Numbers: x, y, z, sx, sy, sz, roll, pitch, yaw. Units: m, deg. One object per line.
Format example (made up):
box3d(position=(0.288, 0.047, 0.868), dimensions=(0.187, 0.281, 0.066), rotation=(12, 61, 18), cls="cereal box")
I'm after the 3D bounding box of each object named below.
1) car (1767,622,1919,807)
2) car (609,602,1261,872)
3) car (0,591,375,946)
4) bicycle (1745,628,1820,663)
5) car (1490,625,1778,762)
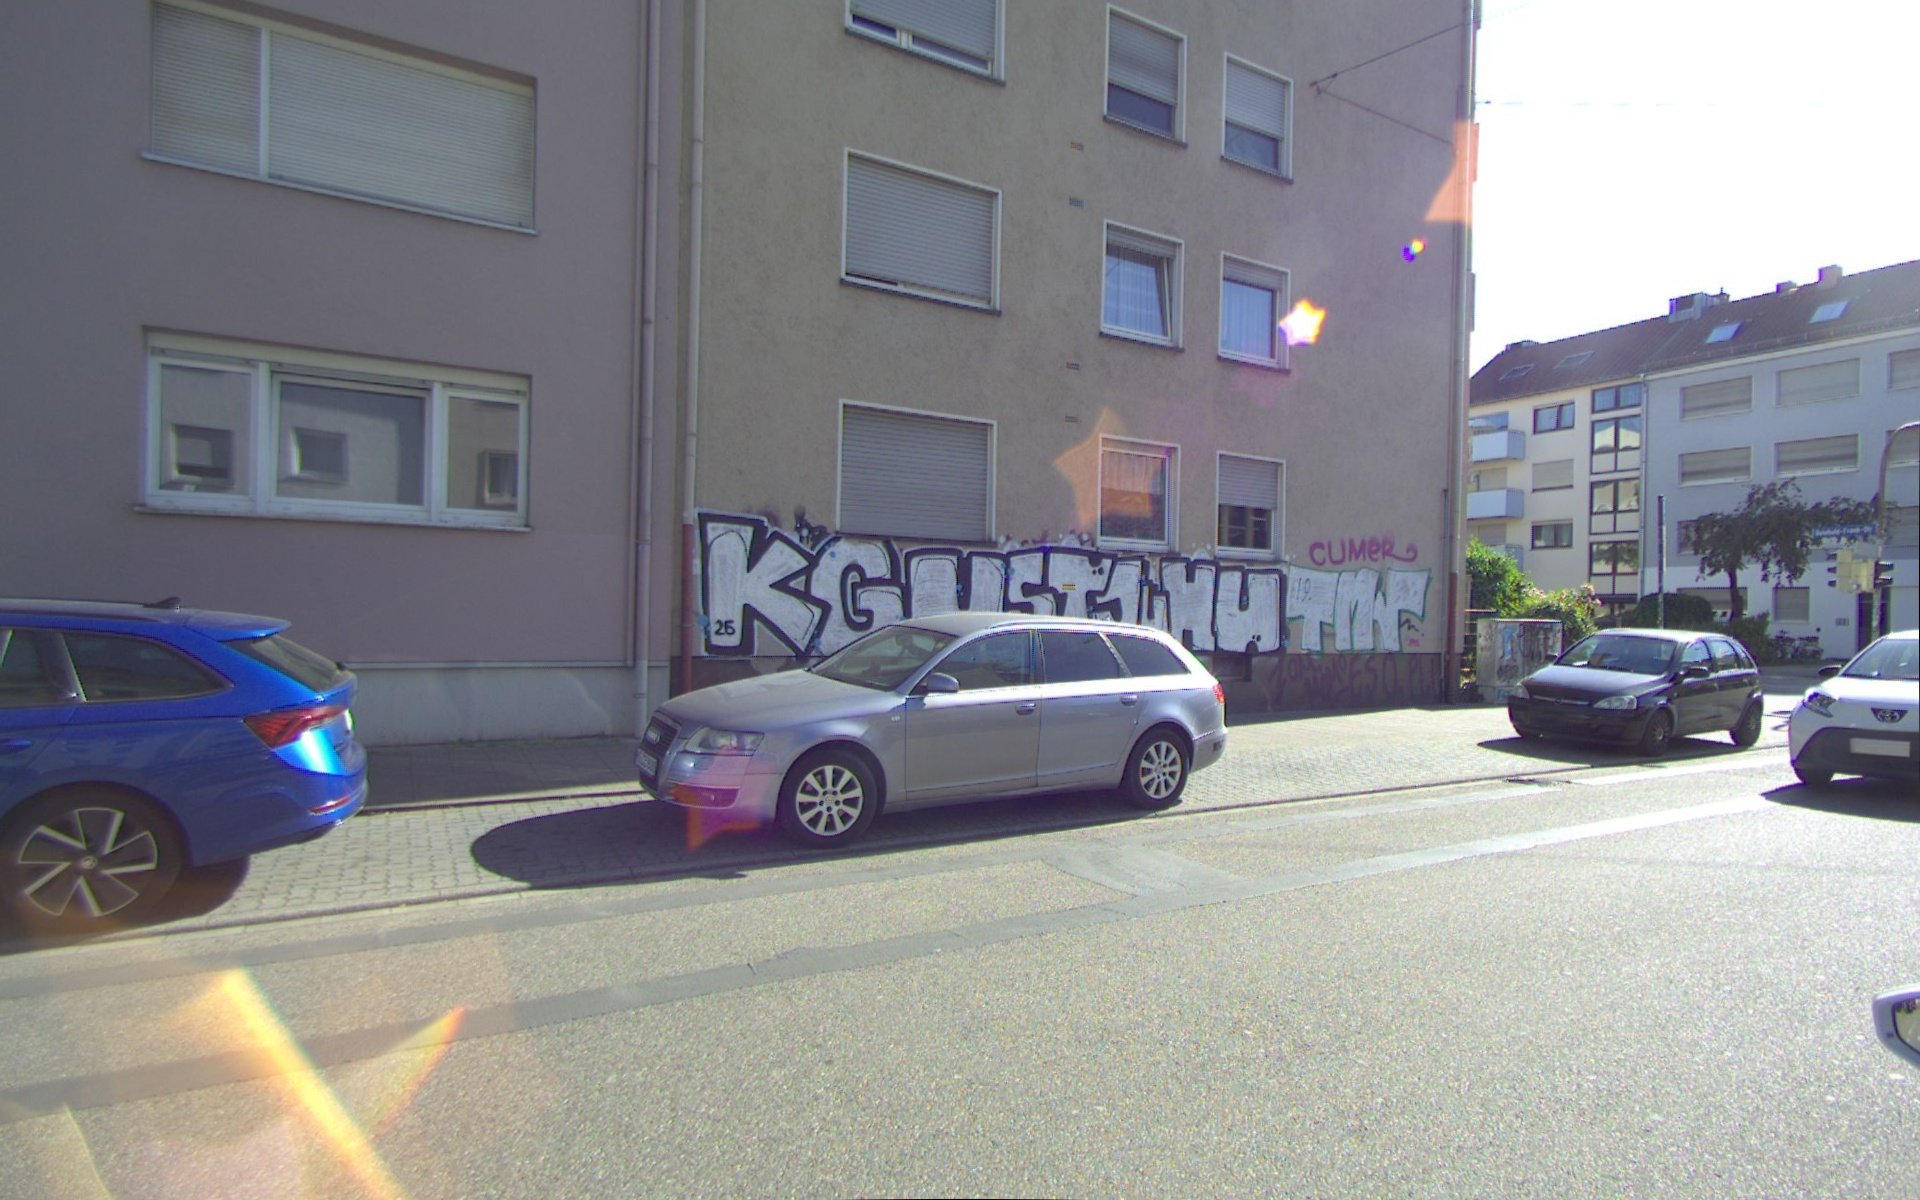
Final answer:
box3d(position=(9.704, 1.027, 9.754), dimensions=(3.743, 1.557, 1.756), rotation=(1, -1, -31), cls="car")
box3d(position=(-0.041, 0.833, 7.693), dimensions=(4.759, 1.485, 1.708), rotation=(1, 1, -31), cls="car")
box3d(position=(-5.355, 0.713, 4.628), dimensions=(4.559, 1.485, 1.708), rotation=(1, 1, -31), cls="car")
box3d(position=(29.794, 1.640, 36.422), dimensions=(2.068, 1.188, 0.738), rotation=(0, -1, 37), cls="bicycle")
box3d(position=(8.624, 1.091, 12.804), dimensions=(3.667, 1.444, 1.608), rotation=(1, 1, -31), cls="car")
